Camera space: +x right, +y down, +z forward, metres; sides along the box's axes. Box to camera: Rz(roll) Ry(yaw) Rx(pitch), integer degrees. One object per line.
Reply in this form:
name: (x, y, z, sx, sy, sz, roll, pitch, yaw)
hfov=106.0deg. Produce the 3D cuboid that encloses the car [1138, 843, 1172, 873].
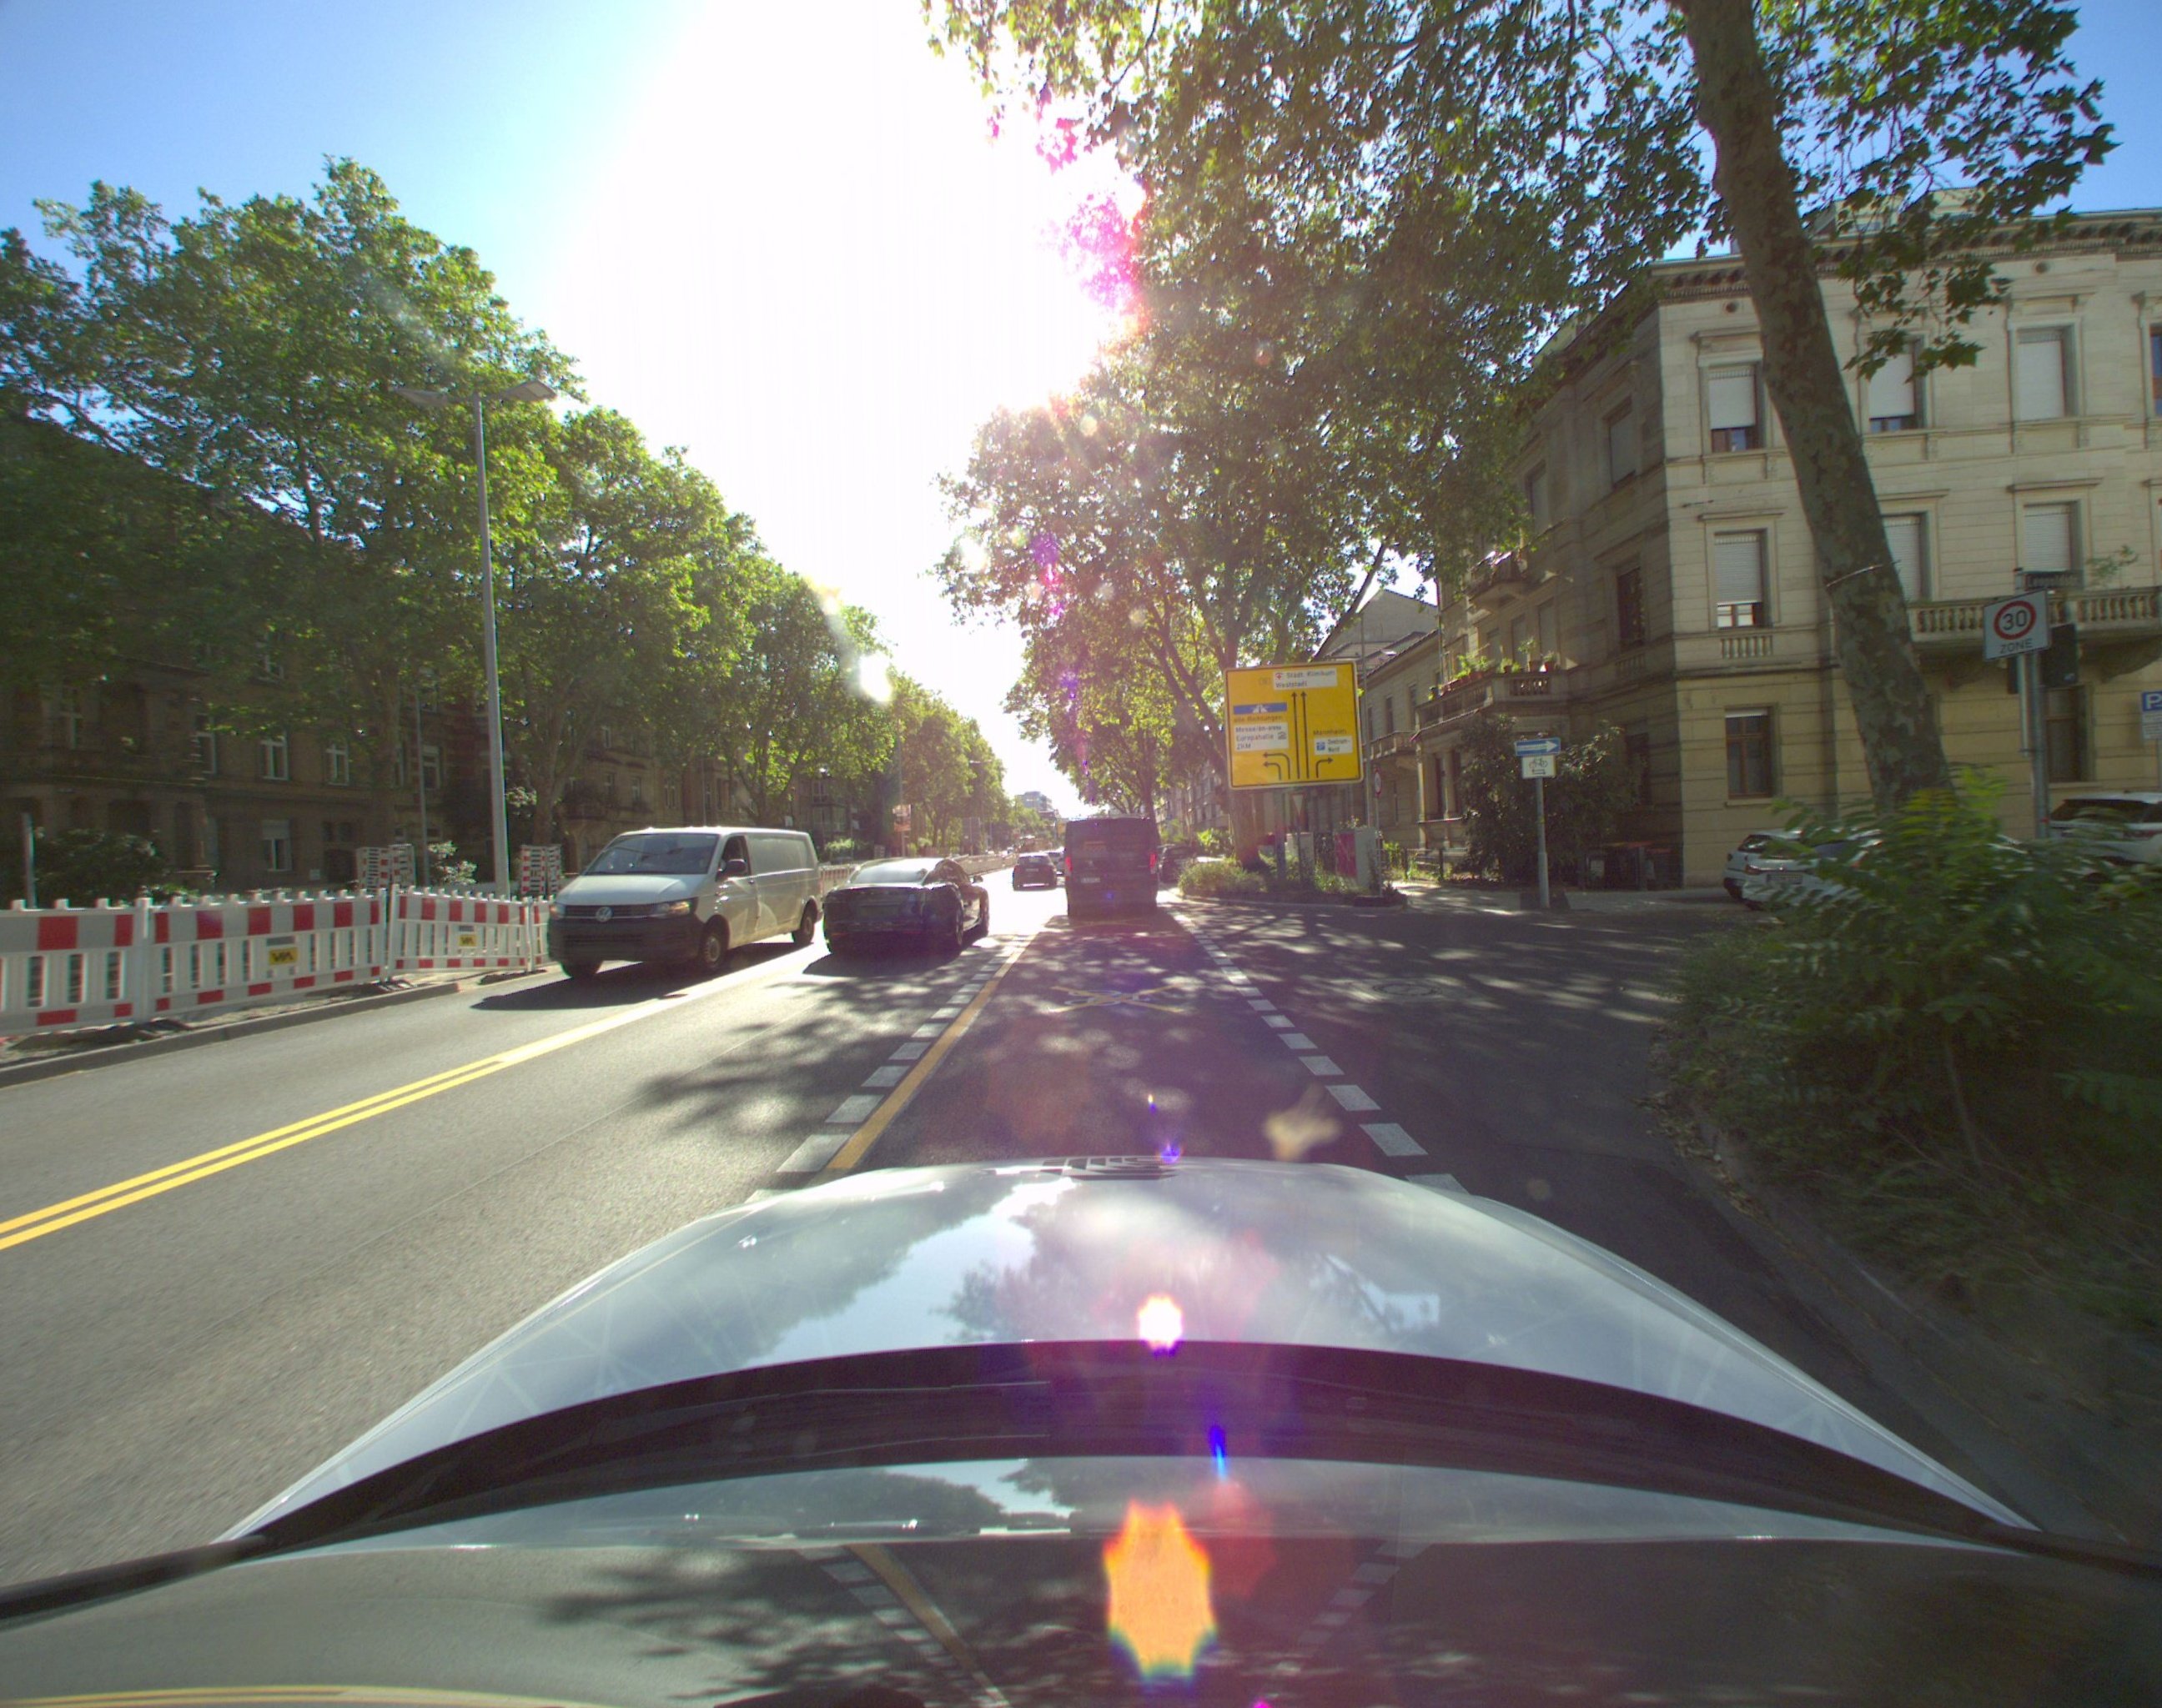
car: (4.313, 0.222, 47.813, 1.765, 1.568, 4.004, -3, 0, 3)

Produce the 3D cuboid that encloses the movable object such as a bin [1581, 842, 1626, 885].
movable object such as a bin: (12.418, 0.231, 19.381, 0.684, 0.970, 0.548, -3, 0, 3)

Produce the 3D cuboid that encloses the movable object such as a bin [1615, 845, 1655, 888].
movable object such as a bin: (12.784, 0.286, 18.796, 0.517, 0.970, 0.548, -3, 0, 4)

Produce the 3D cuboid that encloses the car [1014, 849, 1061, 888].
car: (-1.757, 0.567, 33.888, 1.614, 1.486, 3.735, -2, 0, 1)

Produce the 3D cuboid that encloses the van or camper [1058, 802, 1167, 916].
van or camper: (0.677, 0.097, 19.515, 2.238, 2.346, 4.537, -2, 0, 0)

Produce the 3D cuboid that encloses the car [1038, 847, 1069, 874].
car: (-1.606, 0.383, 48.432, 1.614, 1.486, 3.735, -2, 0, 1)

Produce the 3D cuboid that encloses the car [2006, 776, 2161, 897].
car: (20.103, -0.392, 14.596, 4.507, 2.013, 2.031, -3, 0, 4)

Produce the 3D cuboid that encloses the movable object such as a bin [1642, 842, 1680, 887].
movable object such as a bin: (12.926, 0.238, 18.165, 0.517, 0.970, 0.399, -3, 0, 3)

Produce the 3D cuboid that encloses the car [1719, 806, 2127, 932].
car: (12.027, 0.219, 11.839, 4.032, 1.486, 1.839, -3, -2, -2)

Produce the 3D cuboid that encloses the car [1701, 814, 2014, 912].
car: (14.081, 0.123, 14.964, 3.913, 1.561, 1.875, -2, 2, 2)

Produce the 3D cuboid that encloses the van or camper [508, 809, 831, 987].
van or camper: (-5.595, 0.501, 12.119, 1.986, 2.013, 5.329, -1, 0, 1)

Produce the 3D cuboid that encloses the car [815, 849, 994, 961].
car: (-2.690, 0.701, 13.520, 1.831, 1.483, 4.477, -2, 0, 1)

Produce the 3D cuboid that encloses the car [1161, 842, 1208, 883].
car: (4.390, 0.329, 34.959, 1.764, 1.568, 4.005, -2, 0, 5)

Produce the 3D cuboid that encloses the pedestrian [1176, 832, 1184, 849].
pedestrian: (13.295, -1.812, 109.606, 1.053, 2.345, 0.817, -1, 0, 4)
